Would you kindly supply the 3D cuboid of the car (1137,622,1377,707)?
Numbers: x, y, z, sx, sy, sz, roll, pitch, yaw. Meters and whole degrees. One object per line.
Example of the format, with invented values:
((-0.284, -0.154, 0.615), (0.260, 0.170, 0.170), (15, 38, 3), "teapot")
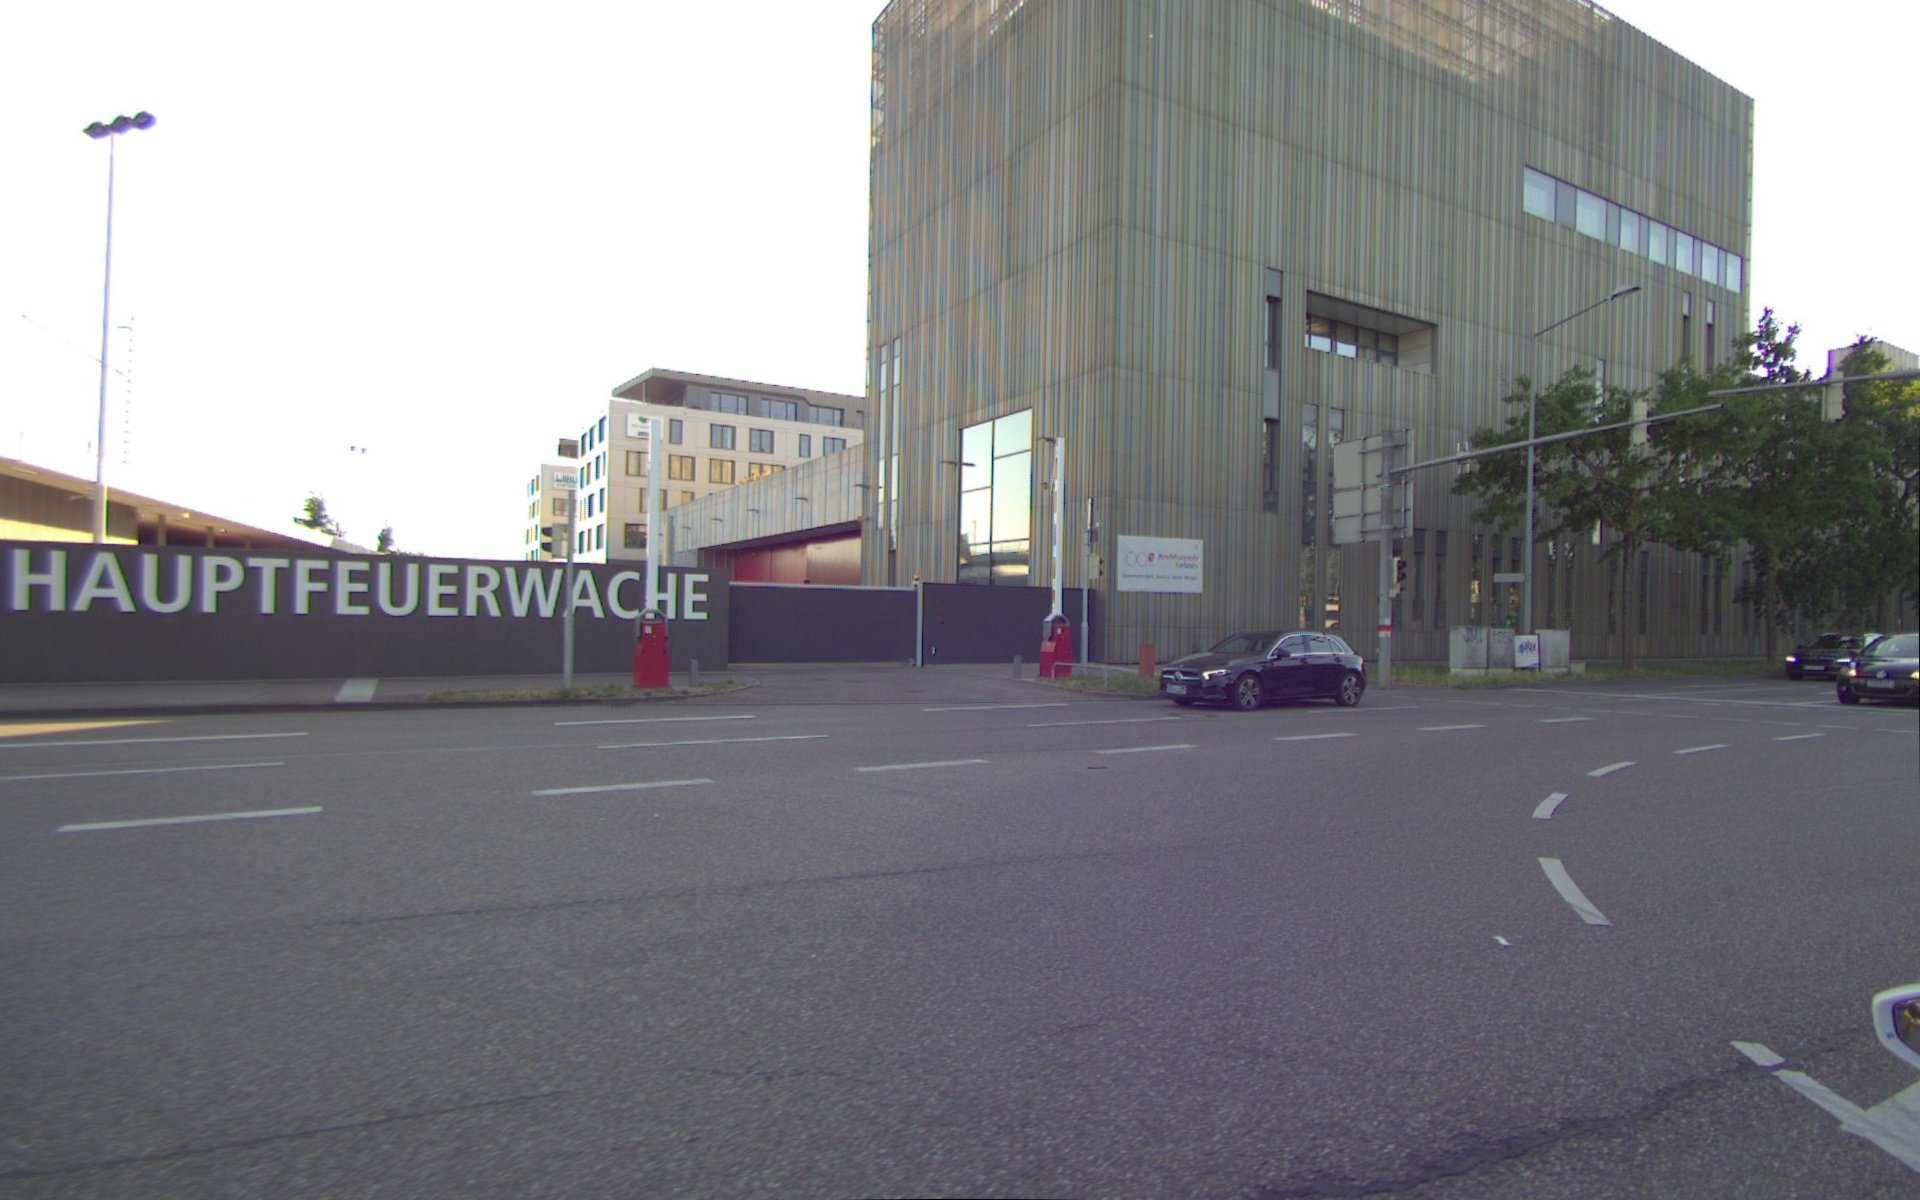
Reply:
((5.631, 1.228, 18.950), (4.300, 1.418, 1.984), (3, -4, -32), "car")

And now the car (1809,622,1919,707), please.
((19.378, 1.313, 20.462), (4.035, 1.495, 1.983), (3, 1, -31), "car")

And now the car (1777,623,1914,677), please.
((28.301, 1.636, 32.070), (4.662, 1.612, 1.984), (3, -4, -32), "car")
